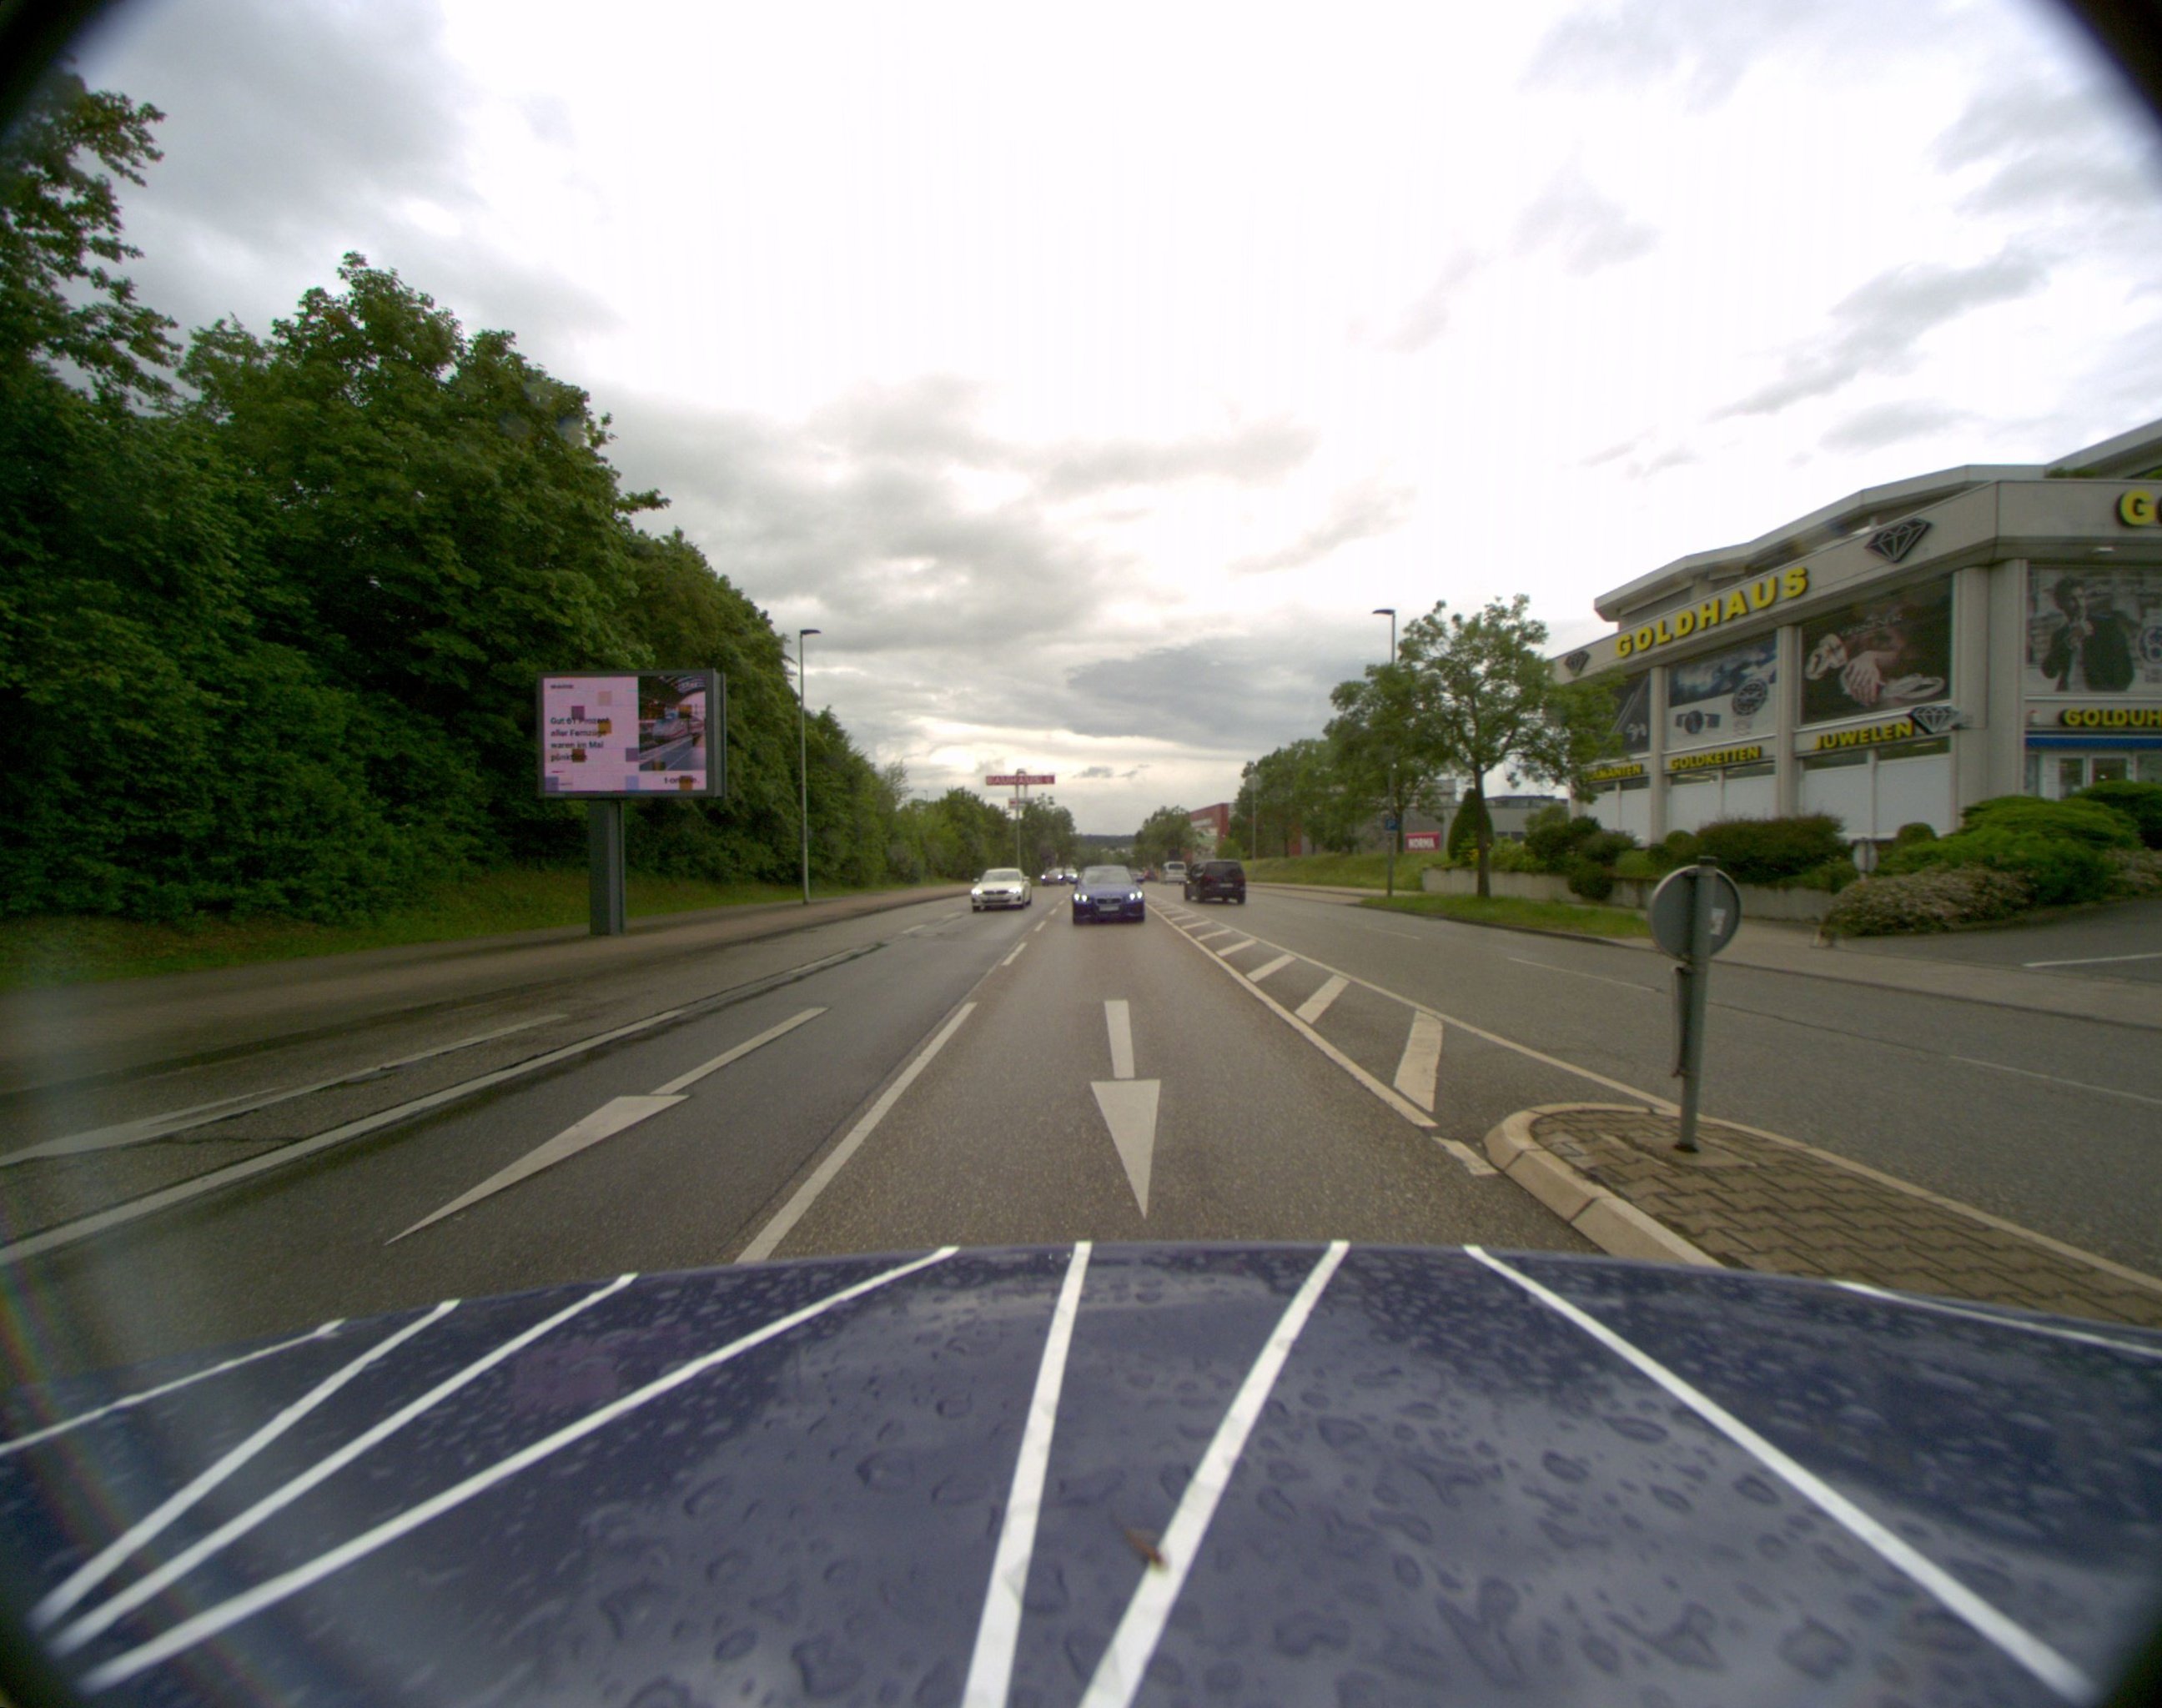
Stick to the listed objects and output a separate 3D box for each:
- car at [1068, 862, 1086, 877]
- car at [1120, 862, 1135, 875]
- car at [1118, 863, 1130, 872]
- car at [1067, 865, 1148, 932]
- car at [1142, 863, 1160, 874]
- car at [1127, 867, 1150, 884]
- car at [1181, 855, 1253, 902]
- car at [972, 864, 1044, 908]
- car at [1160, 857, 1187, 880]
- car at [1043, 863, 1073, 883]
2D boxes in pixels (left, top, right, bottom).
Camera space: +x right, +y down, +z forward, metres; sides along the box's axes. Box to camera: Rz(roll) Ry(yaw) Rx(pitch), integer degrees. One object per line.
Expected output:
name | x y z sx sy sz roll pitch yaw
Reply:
car | -0.435 1.707 86.440 1.853 1.565 4.000 -2 0 0
car | 6.101 1.881 100.748 1.827 1.598 4.284 1 0 1
car | 7.241 2.269 127.432 1.800 1.574 4.199 0 -1 0
car | 0.770 1.074 20.191 1.827 1.473 4.841 -2 0 4
car | 8.820 1.841 96.065 1.798 1.393 4.299 1 -1 -3
car | 5.084 1.873 67.656 1.671 1.390 3.999 1 0 -1
car | 5.161 0.896 29.366 1.761 1.667 4.147 1 0 -4
car | -2.609 1.142 27.931 1.863 1.473 4.002 -1 -1 6
car | 8.140 1.246 67.042 1.800 1.971 4.898 1 0 0
car | -1.974 1.646 66.858 2.113 1.609 4.842 -1 -1 4
